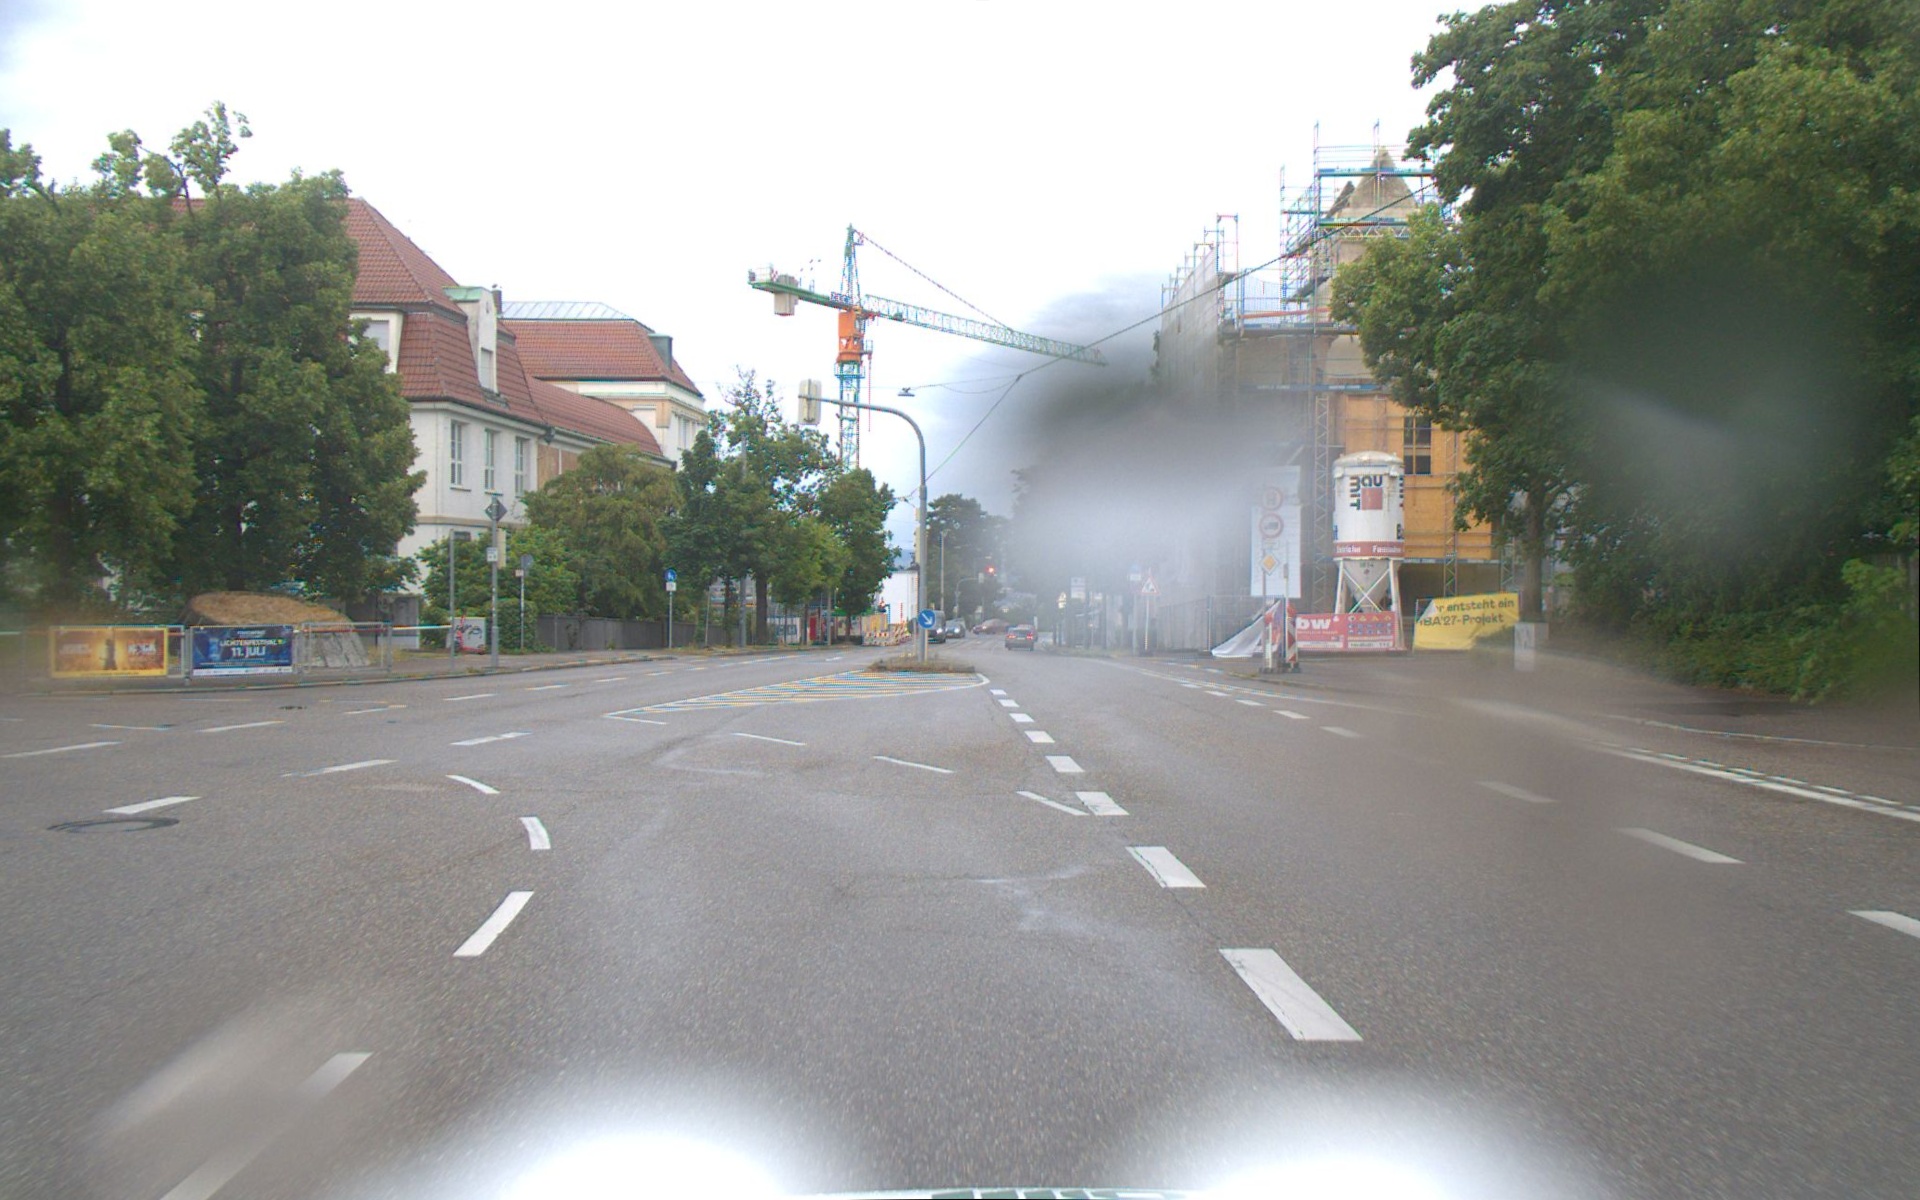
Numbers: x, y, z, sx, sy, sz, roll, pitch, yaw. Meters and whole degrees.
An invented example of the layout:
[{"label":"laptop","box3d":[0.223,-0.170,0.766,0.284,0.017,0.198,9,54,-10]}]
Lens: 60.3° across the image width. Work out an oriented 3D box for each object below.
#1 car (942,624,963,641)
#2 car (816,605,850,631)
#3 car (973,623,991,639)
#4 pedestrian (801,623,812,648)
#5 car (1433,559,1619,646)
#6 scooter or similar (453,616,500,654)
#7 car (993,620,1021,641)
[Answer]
[{"label":"car","box3d":[-0.682,2.940,150.795,1.542,1.486,3.540,1,0,6]},{"label":"car","box3d":[-10.081,1.408,131.318,1.951,2.049,4.003,1,0,6]},{"label":"car","box3d":[2.194,3.079,163.078,1.468,1.473,3.483,1,0,6]},{"label":"pedestrian","box3d":[-9.097,2.112,97.900,0.532,1.466,0.447,0,0,-17]},{"label":"car","box3d":[14.024,0.059,41.080,3.932,2.049,1.986,0,0,44]},{"label":"scooter or similar","box3d":[-13.014,0.944,44.520,0.529,0.971,1.084,0,-2,40]},{"label":"car","box3d":[3.436,2.204,120.698,1.738,1.464,3.874,1,0,6]}]
